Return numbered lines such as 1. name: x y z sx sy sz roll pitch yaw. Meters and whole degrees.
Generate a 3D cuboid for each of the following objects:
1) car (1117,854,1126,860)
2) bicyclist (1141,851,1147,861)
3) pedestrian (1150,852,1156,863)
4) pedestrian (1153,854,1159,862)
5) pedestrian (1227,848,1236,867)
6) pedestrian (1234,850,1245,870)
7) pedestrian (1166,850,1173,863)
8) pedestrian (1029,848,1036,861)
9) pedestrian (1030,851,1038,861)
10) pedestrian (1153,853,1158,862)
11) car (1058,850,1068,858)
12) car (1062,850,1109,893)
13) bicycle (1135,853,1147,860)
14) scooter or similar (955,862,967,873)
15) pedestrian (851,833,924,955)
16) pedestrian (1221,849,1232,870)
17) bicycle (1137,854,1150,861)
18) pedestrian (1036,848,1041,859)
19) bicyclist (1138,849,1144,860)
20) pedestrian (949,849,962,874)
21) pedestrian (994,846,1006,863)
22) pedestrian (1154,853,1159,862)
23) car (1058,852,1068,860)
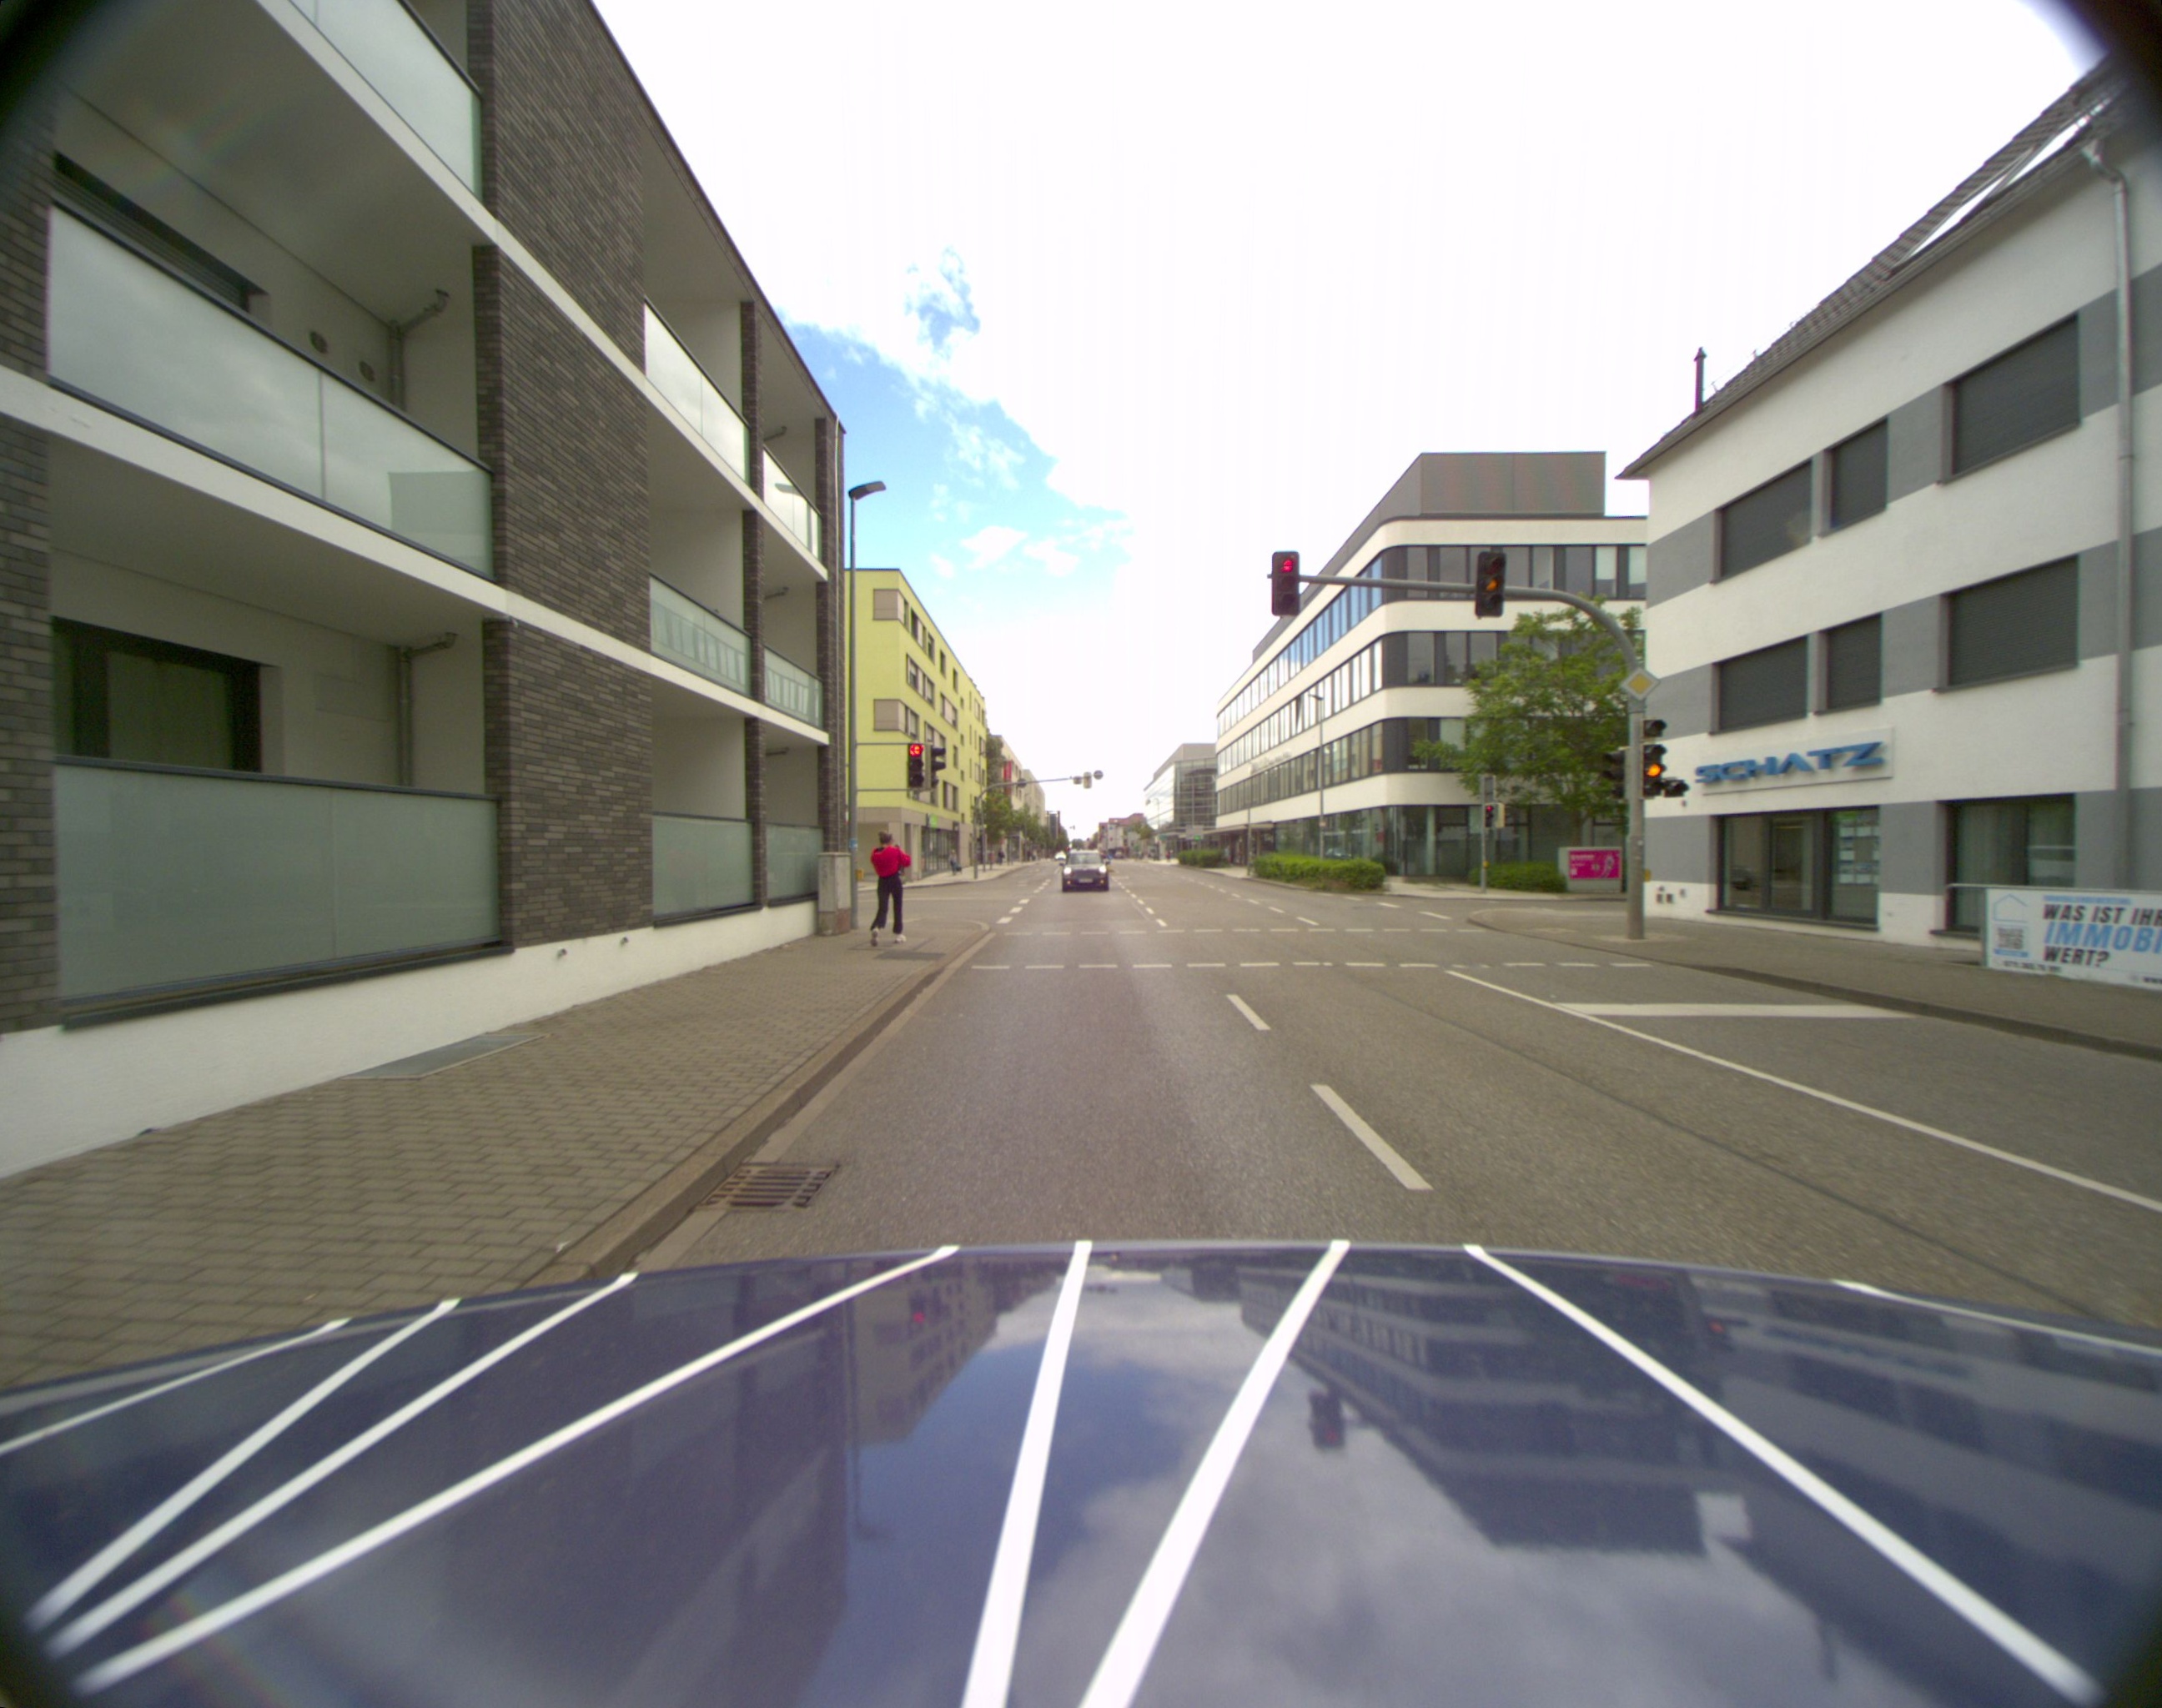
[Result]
1. car: 8.699 0.633 163.406 1.901 1.407 4.471 -2 0 0
2. bicyclist: 10.699 0.277 129.584 0.783 1.639 0.639 -2 1 15
3. pedestrian: 10.562 0.566 111.270 0.688 1.622 0.574 1 1 -41
4. pedestrian: 10.858 0.609 110.036 0.686 1.069 0.576 2 1 -1
5. pedestrian: 13.340 0.304 67.210 0.616 1.700 0.505 0 1 -30
6. pedestrian: 12.637 0.473 60.624 0.732 1.604 0.931 -1 1 2
7. pedestrian: 10.962 0.296 94.096 0.832 1.558 0.813 -1 1 5
8. pedestrian: -6.248 0.034 97.559 0.722 1.674 0.733 1 1 5
9. pedestrian: -6.176 0.214 99.968 0.945 1.252 0.732 1 1 -3
10. pedestrian: 10.800 0.488 110.633 0.686 1.246 0.576 1 1 -1
11. car: -3.273 0.058 139.932 1.787 1.417 4.514 -1 0 -1
12. car: 0.242 0.626 30.261 1.691 1.550 4.745 -1 1 2
13. bicycle: 10.479 0.423 132.438 2.025 1.199 0.749 -2 0 44
14. scooter or similar: -7.640 0.865 48.440 0.593 0.669 0.824 1 0 -1
15. pedestrian: -2.957 0.590 11.670 0.809 1.776 0.861 3 1 1
16. pedestrian: 11.712 0.475 61.282 0.732 1.664 0.931 -1 1 2
17. bicycle: 10.677 0.539 129.601 2.002 1.124 0.639 -2 0 15
18. pedestrian: -5.653 -0.070 101.610 0.580 1.581 0.733 1 1 5
19. bicyclist: 10.469 0.101 132.436 0.772 1.789 0.749 -1 1 44
20. pedestrian: -7.853 0.471 47.716 0.697 1.584 0.603 1 1 -1
21. pedestrian: -7.537 0.045 70.796 0.949 1.574 1.015 0 1 -1
22. pedestrian: 10.859 0.466 109.364 0.686 1.312 0.576 2 1 -1
23. car: -3.500 0.334 146.437 1.741 1.533 4.790 -2 0 0
